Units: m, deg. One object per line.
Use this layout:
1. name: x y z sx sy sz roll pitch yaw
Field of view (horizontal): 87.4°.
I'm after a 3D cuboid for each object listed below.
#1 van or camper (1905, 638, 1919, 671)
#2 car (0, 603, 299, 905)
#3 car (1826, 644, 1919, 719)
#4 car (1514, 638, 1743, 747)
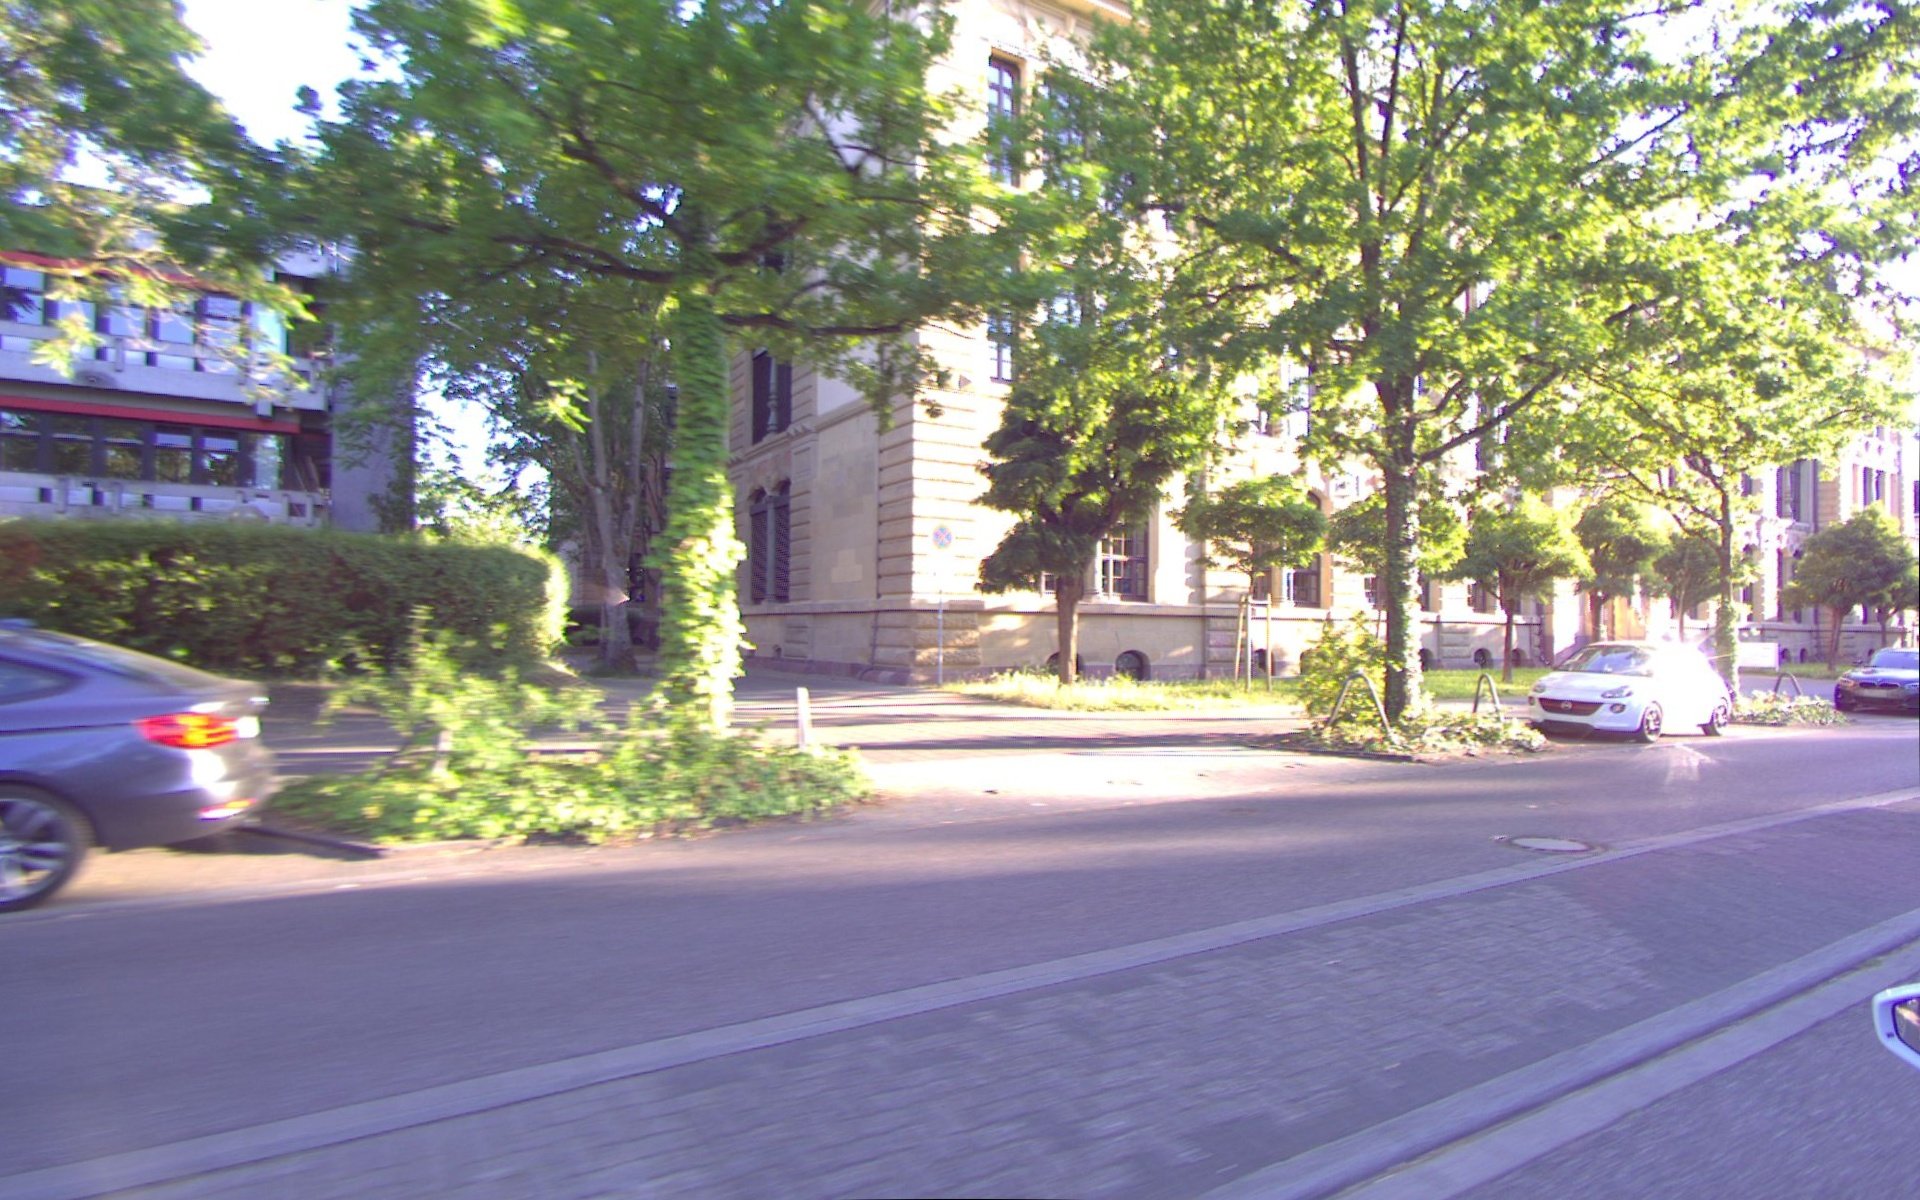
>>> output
1. van or camper: 64.569 3.539 64.859 1.976 2.012 4.748 -3 0 -29
2. car: -6.407 0.751 5.233 4.806 1.530 1.793 2 -1 -31
3. car: 21.343 1.786 22.612 4.329 1.516 1.609 2 -1 -32
4. car: 10.709 1.404 16.035 3.881 1.516 1.609 2 -1 -32
